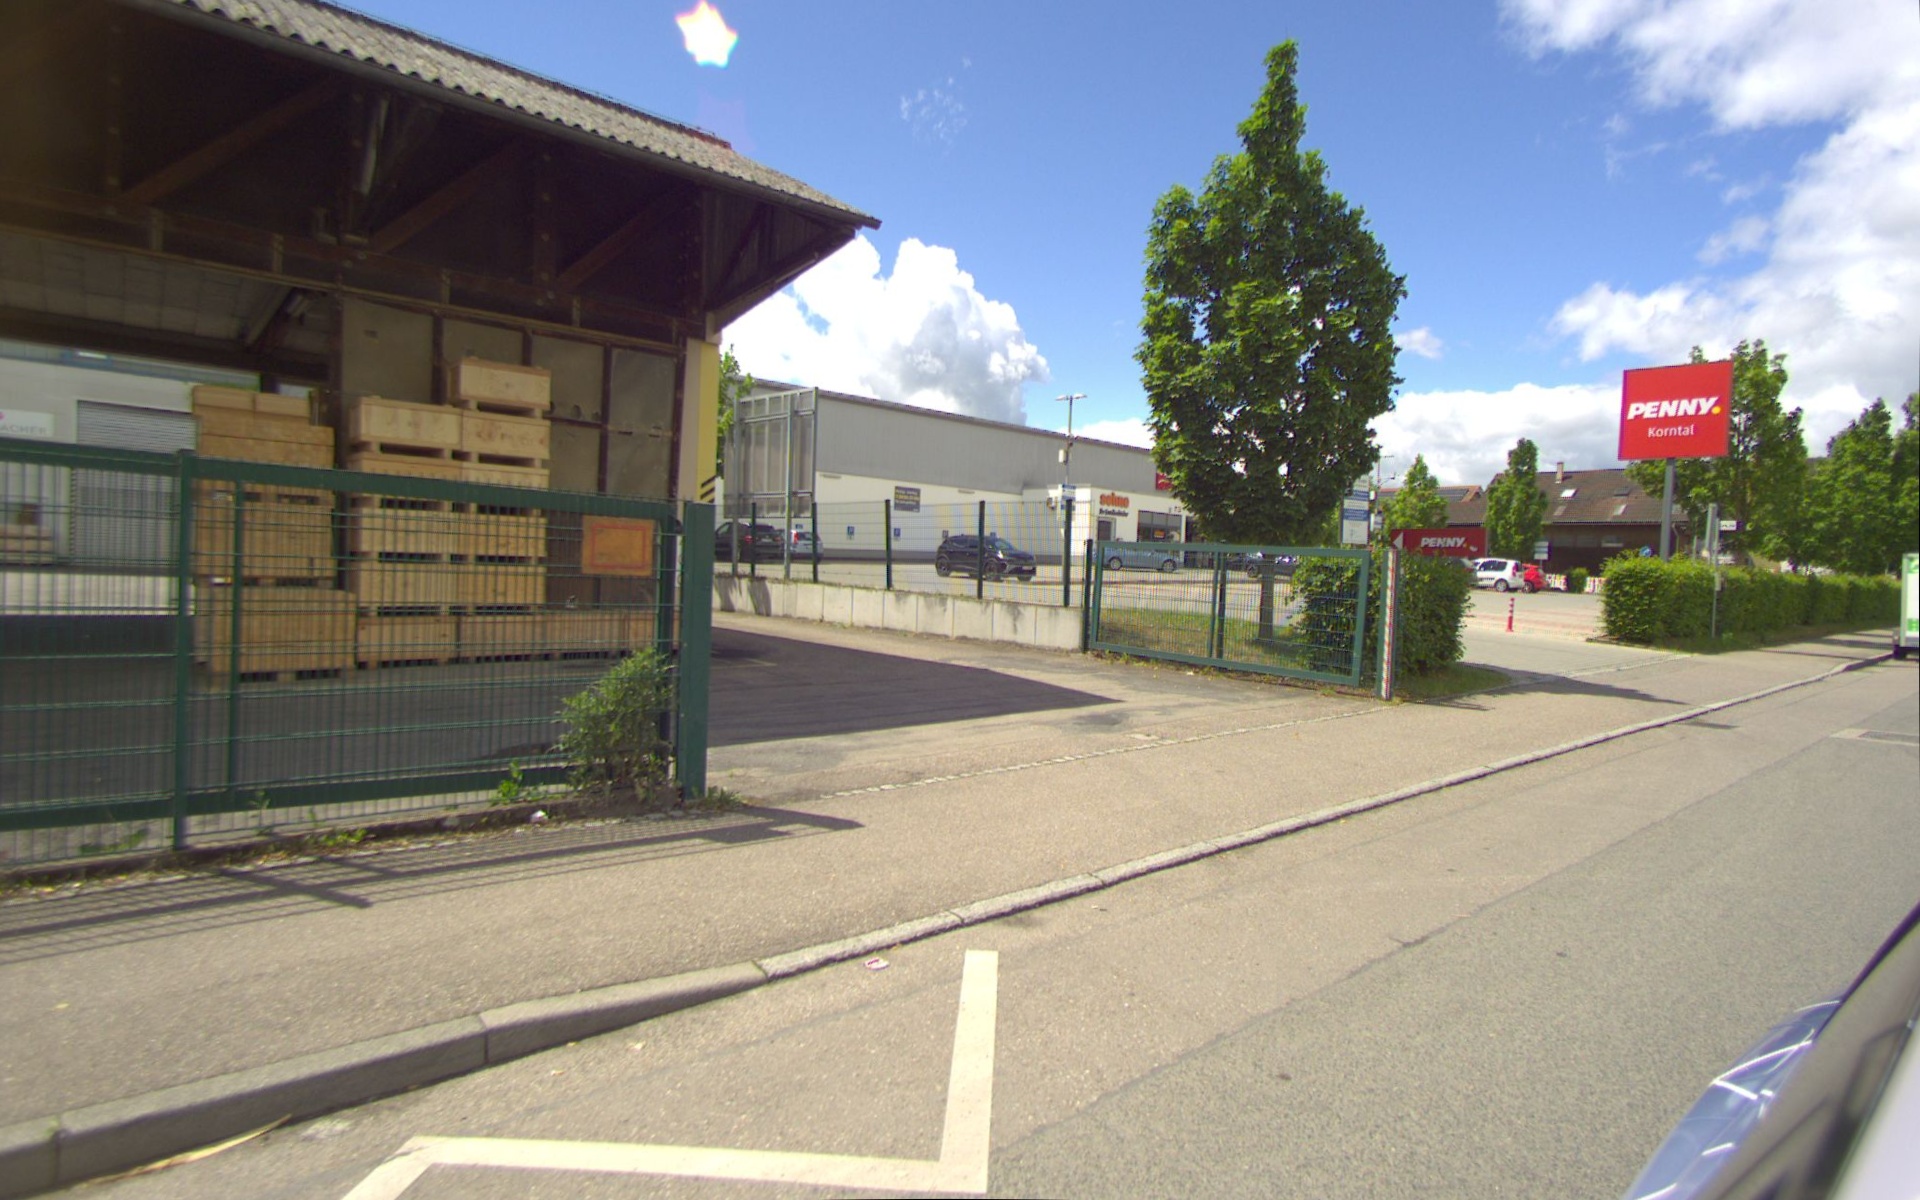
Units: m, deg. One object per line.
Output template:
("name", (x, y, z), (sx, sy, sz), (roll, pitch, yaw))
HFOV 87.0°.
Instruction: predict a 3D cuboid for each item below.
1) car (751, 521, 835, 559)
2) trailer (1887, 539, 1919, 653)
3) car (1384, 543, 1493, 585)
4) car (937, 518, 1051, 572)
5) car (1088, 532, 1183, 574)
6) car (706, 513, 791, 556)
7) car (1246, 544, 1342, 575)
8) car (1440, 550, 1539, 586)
("car", (-7.318, -2.622, 44.120), (1.787, 1.526, 3.996), (0, 3, -40))
("trailer", (21.533, -0.072, 21.710), (4.369, 2.322, 1.945), (-1, 3, -42))
("car", (21.447, -1.577, 45.467), (1.966, 1.727, 3.992), (0, 0, -42))
("car", (1.151, -1.891, 35.780), (1.963, 1.705, 3.997), (0, 0, -38))
("car", (8.612, -2.289, 49.991), (4.217, 1.928, 2.002), (0, 0, -5))
("car", (-8.850, -2.731, 42.183), (1.787, 1.642, 3.996), (0, 3, -40))
("car", (16.128, -1.917, 48.975), (1.965, 1.371, 3.993), (0, 0, -41))
("car", (26.622, -1.557, 50.950), (1.966, 1.727, 3.992), (0, 0, -42))
